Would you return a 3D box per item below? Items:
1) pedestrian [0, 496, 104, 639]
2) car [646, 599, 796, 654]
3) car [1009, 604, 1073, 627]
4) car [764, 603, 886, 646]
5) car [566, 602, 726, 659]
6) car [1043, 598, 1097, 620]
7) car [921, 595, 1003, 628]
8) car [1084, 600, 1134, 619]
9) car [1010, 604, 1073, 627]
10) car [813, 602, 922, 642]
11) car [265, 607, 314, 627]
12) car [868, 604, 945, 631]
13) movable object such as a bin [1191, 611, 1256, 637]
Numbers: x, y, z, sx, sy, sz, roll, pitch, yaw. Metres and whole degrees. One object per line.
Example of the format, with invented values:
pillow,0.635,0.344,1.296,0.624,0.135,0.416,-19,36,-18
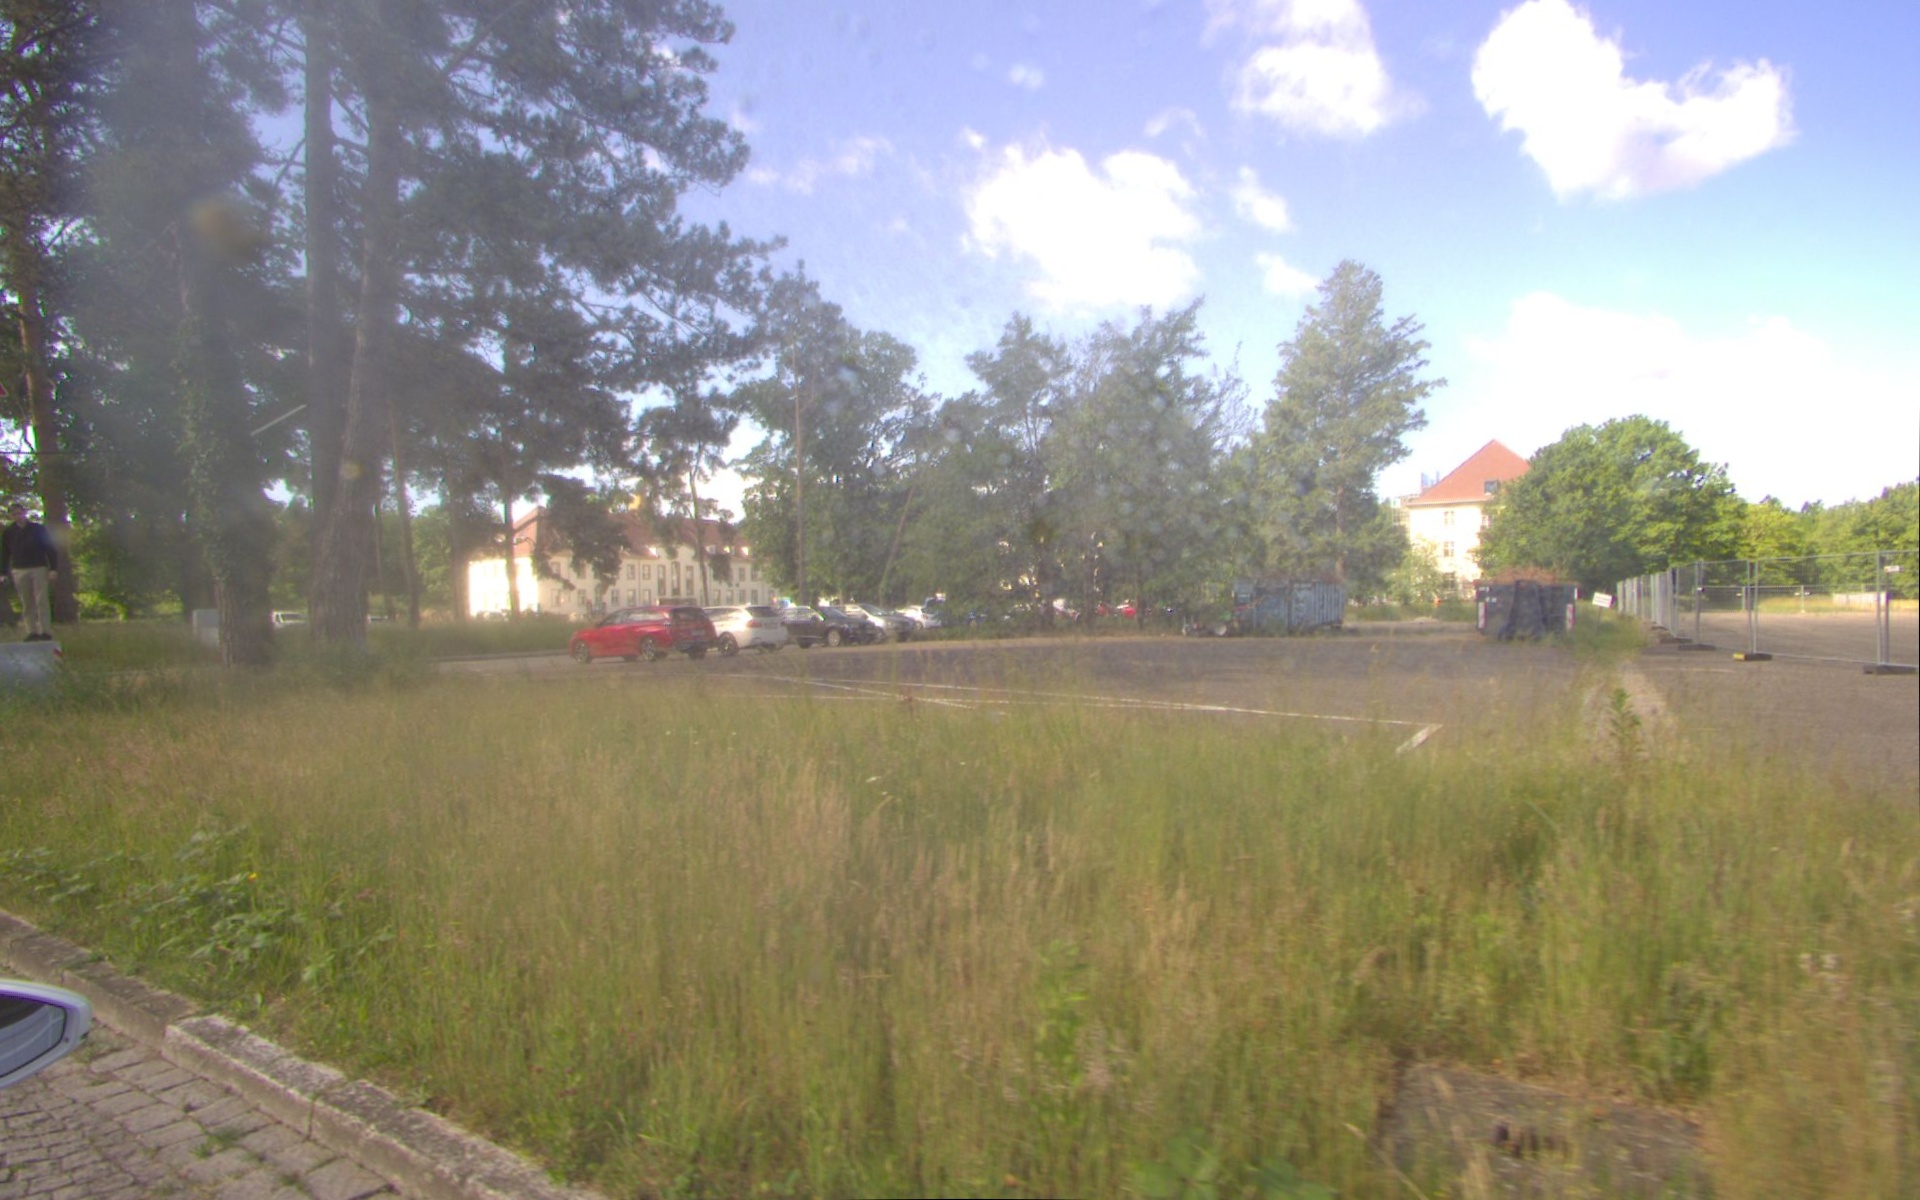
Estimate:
pedestrian,-12.281,-0.418,13.277,1.154,1.820,1.057,-2,2,-28
car,-6.993,0.777,29.151,4.180,1.396,1.776,-3,-1,31
car,5.743,1.098,71.156,4.181,1.568,1.720,-1,-1,33
car,-4.575,0.824,33.722,3.988,1.332,1.612,-1,1,33
car,-8.408,0.838,26.729,4.266,1.417,1.744,-2,-2,33
car,8.133,0.654,74.071,3.640,1.568,1.705,-1,-1,33
car,0.118,0.711,61.077,4.677,1.973,1.981,-1,-1,33
car,12.115,0.792,81.627,3.682,1.568,1.705,-1,-1,33
car,5.757,1.098,71.147,4.181,1.568,1.720,-1,-1,33
car,-3.373,0.790,36.384,3.740,1.390,1.719,-1,-1,35
car,-54.798,1.382,81.797,4.103,1.603,1.823,-1,0,33
car,-3.077,0.982,56.900,4.181,1.487,1.720,-1,-1,33
movable object such as a bin,7.979,0.723,30.292,1.697,0.762,1.143,-1,0,26
